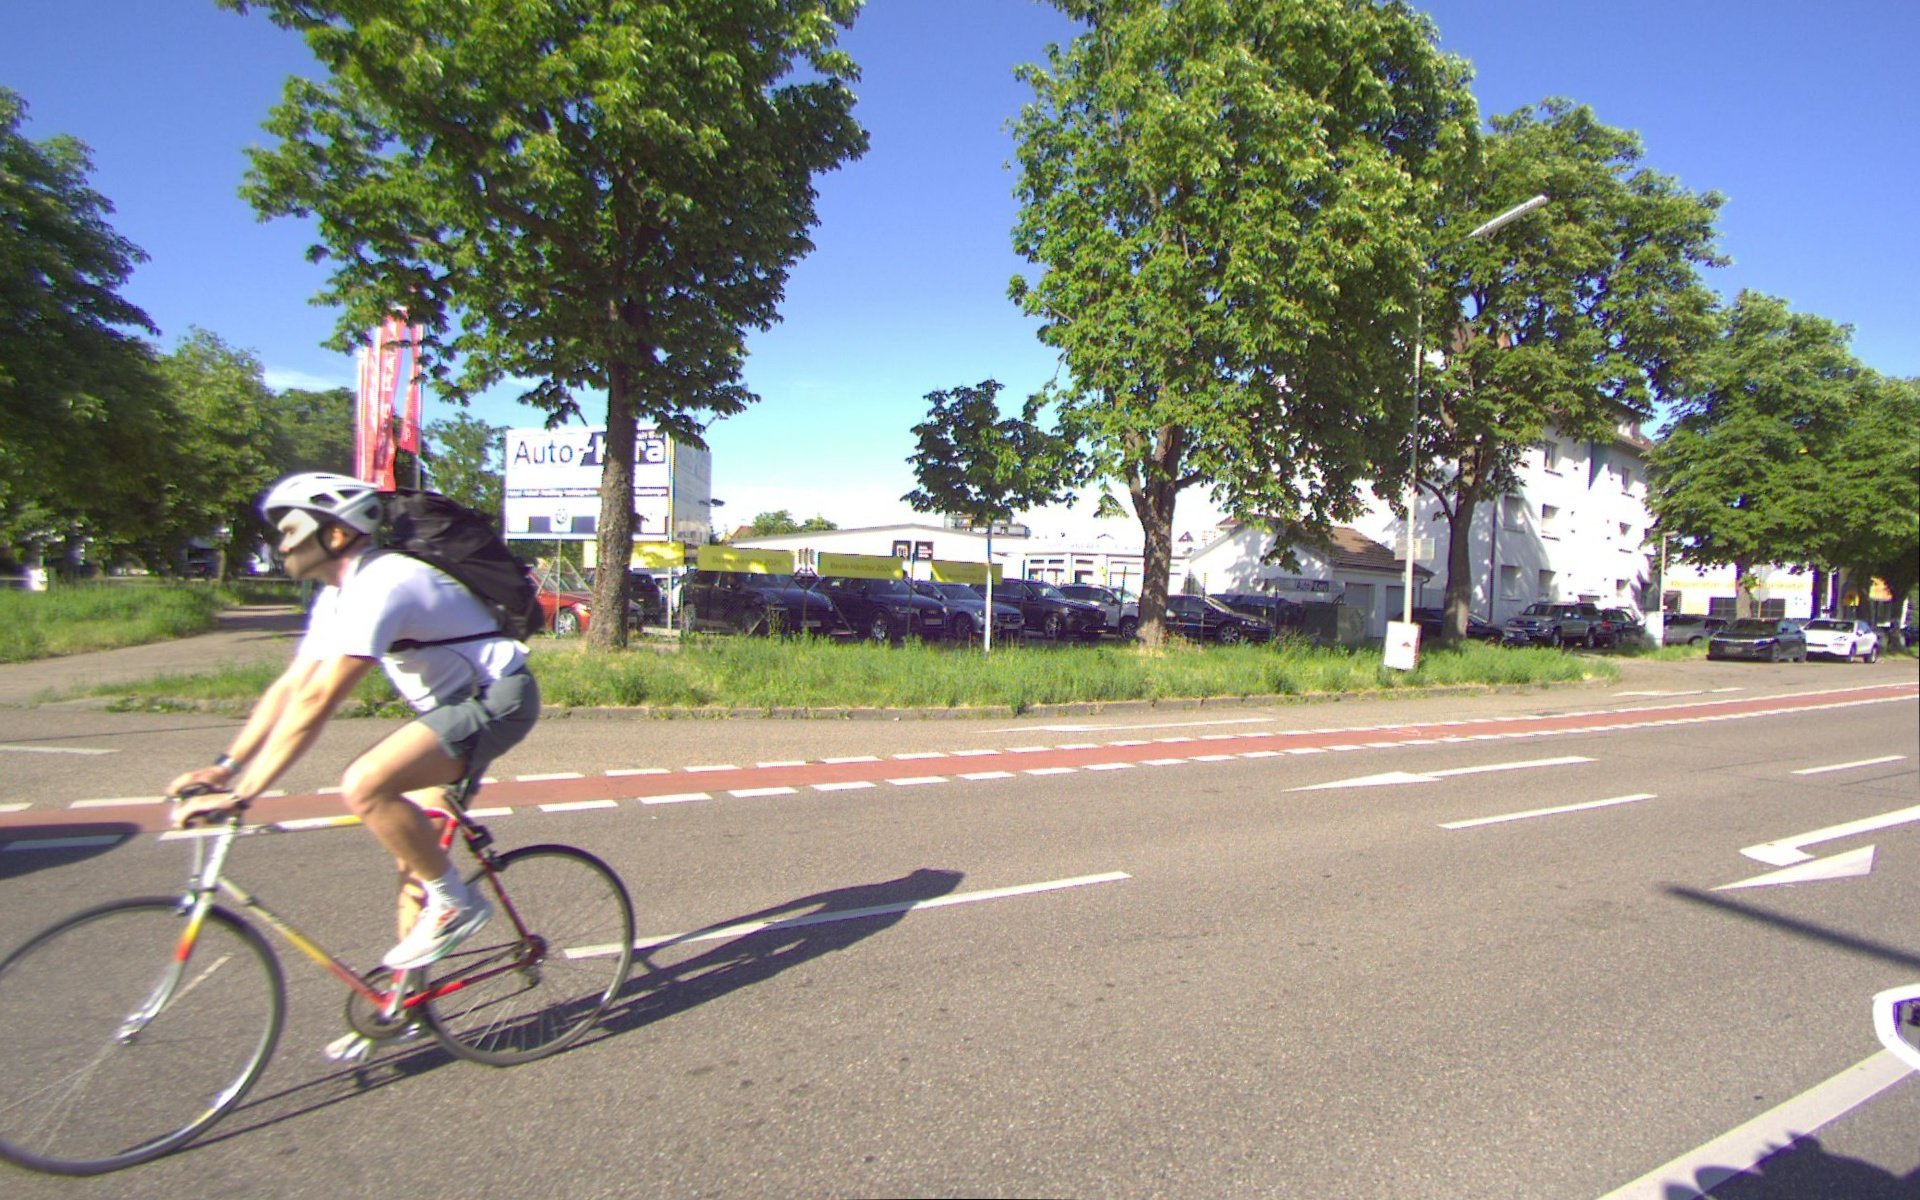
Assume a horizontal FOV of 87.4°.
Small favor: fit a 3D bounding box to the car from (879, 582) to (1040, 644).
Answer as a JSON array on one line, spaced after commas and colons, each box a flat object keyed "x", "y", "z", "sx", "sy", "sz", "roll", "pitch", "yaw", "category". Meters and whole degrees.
[{"x": -0.057, "y": 0.290, "z": 26.093, "sx": 3.822, "sy": 1.432, "sz": 1.937, "roll": 2, "pitch": 1, "yaw": 40, "category": "car"}]

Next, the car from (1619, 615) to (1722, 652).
[{"x": 34.198, "y": 1.600, "z": 48.497, "sx": 3.930, "sy": 1.619, "sz": 1.995, "roll": 1, "pitch": 1, "yaw": 32, "category": "car"}]

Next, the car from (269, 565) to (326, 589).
[{"x": -49.386, "y": -1.742, "z": 74.944, "sx": 1.705, "sy": 1.640, "sz": 3.997, "roll": 4, "pitch": 1, "yaw": -4, "category": "car"}]

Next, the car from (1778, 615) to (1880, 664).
[{"x": 34.767, "y": 1.556, "z": 40.138, "sx": 5.189, "sy": 1.752, "sz": 2.022, "roll": 2, "pitch": 1, "yaw": -38, "category": "car"}]

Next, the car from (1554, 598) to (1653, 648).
[{"x": 27.462, "y": 0.966, "z": 42.785, "sx": 4.744, "sy": 1.956, "sz": 2.053, "roll": 2, "pitch": 1, "yaw": -38, "category": "car"}]

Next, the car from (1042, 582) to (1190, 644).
[{"x": 4.530, "y": 0.348, "z": 29.530, "sx": 1.909, "sy": 1.632, "sz": 3.947, "roll": 0, "pitch": 1, "yaw": -44, "category": "car"}]

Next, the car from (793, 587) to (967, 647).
[{"x": -1.970, "y": 0.362, "z": 24.341, "sx": 3.871, "sy": 1.257, "sz": 2.035, "roll": 2, "pitch": 1, "yaw": 38, "category": "car"}]

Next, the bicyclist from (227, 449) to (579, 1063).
[{"x": -1.684, "y": 0.380, "z": 3.010, "sx": 0.818, "sy": 1.505, "sz": 0.766, "roll": 1, "pitch": 1, "yaw": -37, "category": "bicyclist"}]

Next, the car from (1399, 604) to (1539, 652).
[{"x": 17.879, "y": 0.969, "z": 35.401, "sx": 1.893, "sy": 1.448, "sz": 3.952, "roll": 3, "pitch": 0, "yaw": -41, "category": "car"}]

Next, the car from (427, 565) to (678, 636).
[{"x": -8.919, "y": -0.036, "z": 21.999, "sx": 4.965, "sy": 1.327, "sz": 2.359, "roll": 2, "pitch": 1, "yaw": 25, "category": "car"}]

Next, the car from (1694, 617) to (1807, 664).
[{"x": 28.093, "y": 1.395, "z": 35.654, "sx": 4.917, "sy": 1.483, "sz": 2.022, "roll": 2, "pitch": 0, "yaw": -38, "category": "car"}]

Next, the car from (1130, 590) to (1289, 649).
[{"x": 7.594, "y": 0.541, "z": 30.777, "sx": 4.337, "sy": 1.596, "sz": 1.807, "roll": 2, "pitch": 1, "yaw": 37, "category": "car"}]

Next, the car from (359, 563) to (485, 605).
[{"x": -19.865, "y": -0.579, "z": 37.259, "sx": 3.943, "sy": 1.427, "sz": 1.829, "roll": 1, "pitch": 1, "yaw": -23, "category": "car"}]

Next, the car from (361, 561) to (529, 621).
[{"x": -13.993, "y": -0.226, "z": 27.461, "sx": 3.949, "sy": 1.481, "sz": 1.732, "roll": 2, "pitch": 0, "yaw": -28, "category": "car"}]

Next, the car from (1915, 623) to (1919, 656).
[{"x": 61.460, "y": 2.502, "z": 62.643, "sx": 4.214, "sy": 2.018, "sz": 1.911, "roll": 1, "pitch": 1, "yaw": -35, "category": "car"}]

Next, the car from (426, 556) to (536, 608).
[{"x": -20.219, "y": -0.751, "z": 42.574, "sx": 3.936, "sy": 2.041, "sz": 1.992, "roll": 1, "pitch": 1, "yaw": -17, "category": "car"}]

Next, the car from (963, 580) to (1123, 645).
[{"x": 2.258, "y": 0.297, "z": 27.725, "sx": 3.937, "sy": 1.581, "sz": 1.992, "roll": 2, "pitch": 1, "yaw": 38, "category": "car"}]

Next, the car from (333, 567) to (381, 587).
[{"x": -48.734, "y": -1.874, "z": 81.231, "sx": 1.837, "sy": 1.459, "sz": 3.481, "roll": 4, "pitch": 1, "yaw": -4, "category": "car"}]

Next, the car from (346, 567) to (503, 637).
[{"x": -15.807, "y": 0.071, "z": 29.860, "sx": 3.949, "sy": 1.911, "sz": 1.986, "roll": 2, "pitch": 0, "yaw": -27, "category": "car"}]

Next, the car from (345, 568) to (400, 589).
[{"x": -44.492, "y": -1.628, "z": 76.215, "sx": 1.962, "sy": 1.469, "sz": 3.997, "roll": 4, "pitch": 1, "yaw": -4, "category": "car"}]

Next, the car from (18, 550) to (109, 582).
[{"x": -54.742, "y": -2.050, "z": 61.436, "sx": 1.970, "sy": 1.820, "sz": 3.999, "roll": 1, "pitch": 1, "yaw": 0, "category": "car"}]

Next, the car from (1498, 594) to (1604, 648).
[{"x": 23.369, "y": 0.830, "z": 39.660, "sx": 5.055, "sy": 1.956, "sz": 1.734, "roll": 2, "pitch": 1, "yaw": -37, "category": "car"}]

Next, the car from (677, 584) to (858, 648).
[{"x": -4.448, "y": 0.320, "z": 22.971, "sx": 3.871, "sy": 1.257, "sz": 2.035, "roll": 2, "pitch": 1, "yaw": 38, "category": "car"}]

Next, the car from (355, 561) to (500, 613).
[{"x": -16.914, "y": -0.395, "z": 32.101, "sx": 3.949, "sy": 1.460, "sz": 1.986, "roll": 2, "pitch": 0, "yaw": -27, "category": "car"}]

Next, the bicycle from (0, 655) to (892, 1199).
[{"x": -1.753, "y": 0.828, "z": 2.965, "sx": 3.184, "sy": 1.242, "sz": 0.787, "roll": 1, "pitch": 1, "yaw": -38, "category": "bicycle"}]

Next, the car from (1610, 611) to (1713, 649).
[{"x": 32.157, "y": 1.364, "z": 46.185, "sx": 3.601, "sy": 1.530, "sz": 1.782, "roll": 2, "pitch": 1, "yaw": 26, "category": "car"}]

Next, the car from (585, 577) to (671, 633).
[{"x": -9.891, "y": 0.120, "z": 29.760, "sx": 1.810, "sy": 1.526, "sz": 3.972, "roll": 1, "pitch": 0, "yaw": -27, "category": "car"}]
